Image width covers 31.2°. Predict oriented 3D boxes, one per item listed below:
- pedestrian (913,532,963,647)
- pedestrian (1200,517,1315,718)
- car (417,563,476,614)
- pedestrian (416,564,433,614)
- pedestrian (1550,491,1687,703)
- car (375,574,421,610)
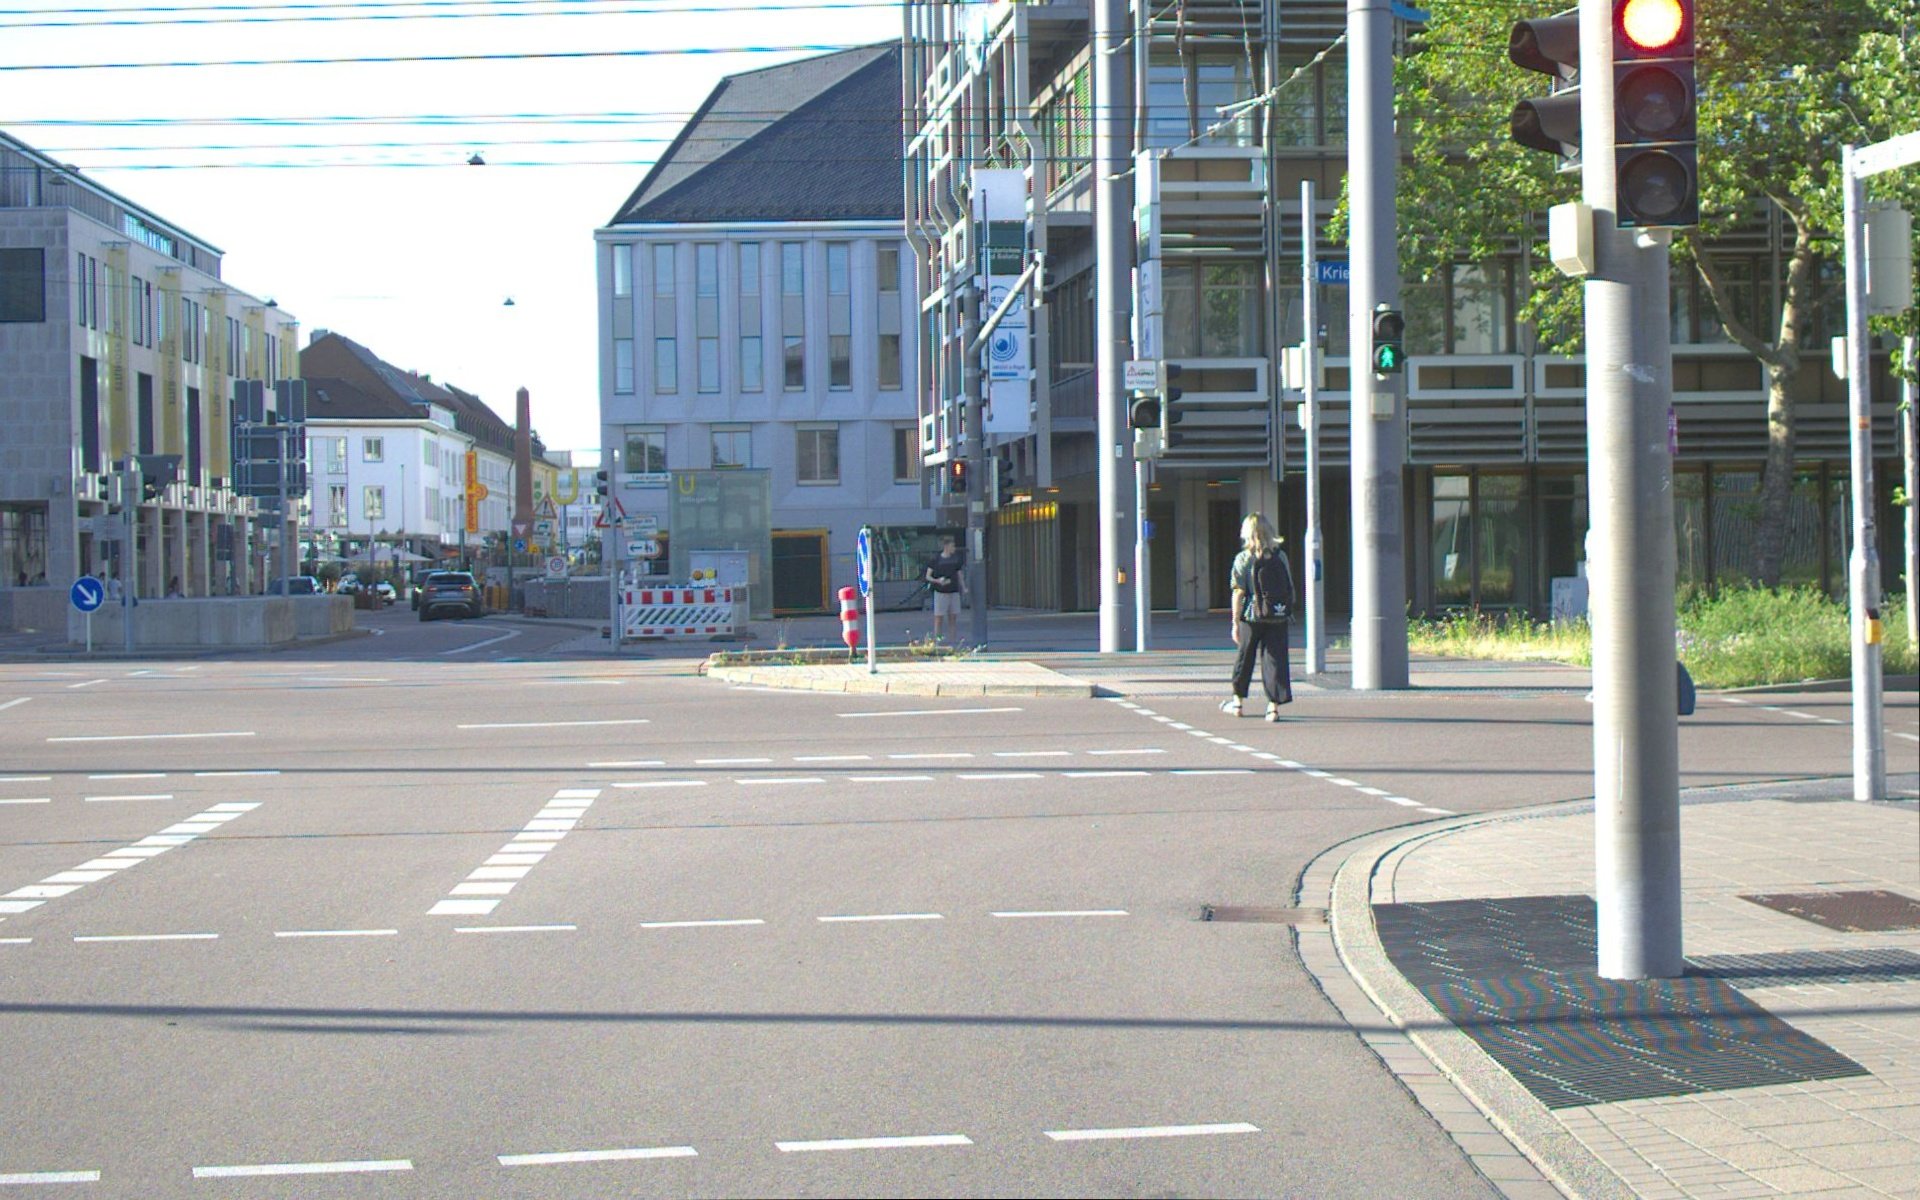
[{"bbox_3d":[-0.368,-0.175,57.311,0.788,1.883,0.644,1,0,-1],"label":"pedestrian"},{"bbox_3d":[2.238,0.131,25.939,0.788,1.487,0.644,1,0,-1],"label":"pedestrian"},{"bbox_3d":[-16.140,-0.372,108.206,1.737,1.525,3.856,1,1,-7],"label":"car"},{"bbox_3d":[-18.237,-0.373,117.130,0.521,1.674,0.583,1,1,-7],"label":"pedestrian"},{"bbox_3d":[5.281,-0.031,27.622,0.878,1.659,0.965,1,0,-1],"label":"pedestrian"},{"bbox_3d":[-26.731,-0.410,163.576,1.797,1.652,4.001,1,1,-4],"label":"car"}]
